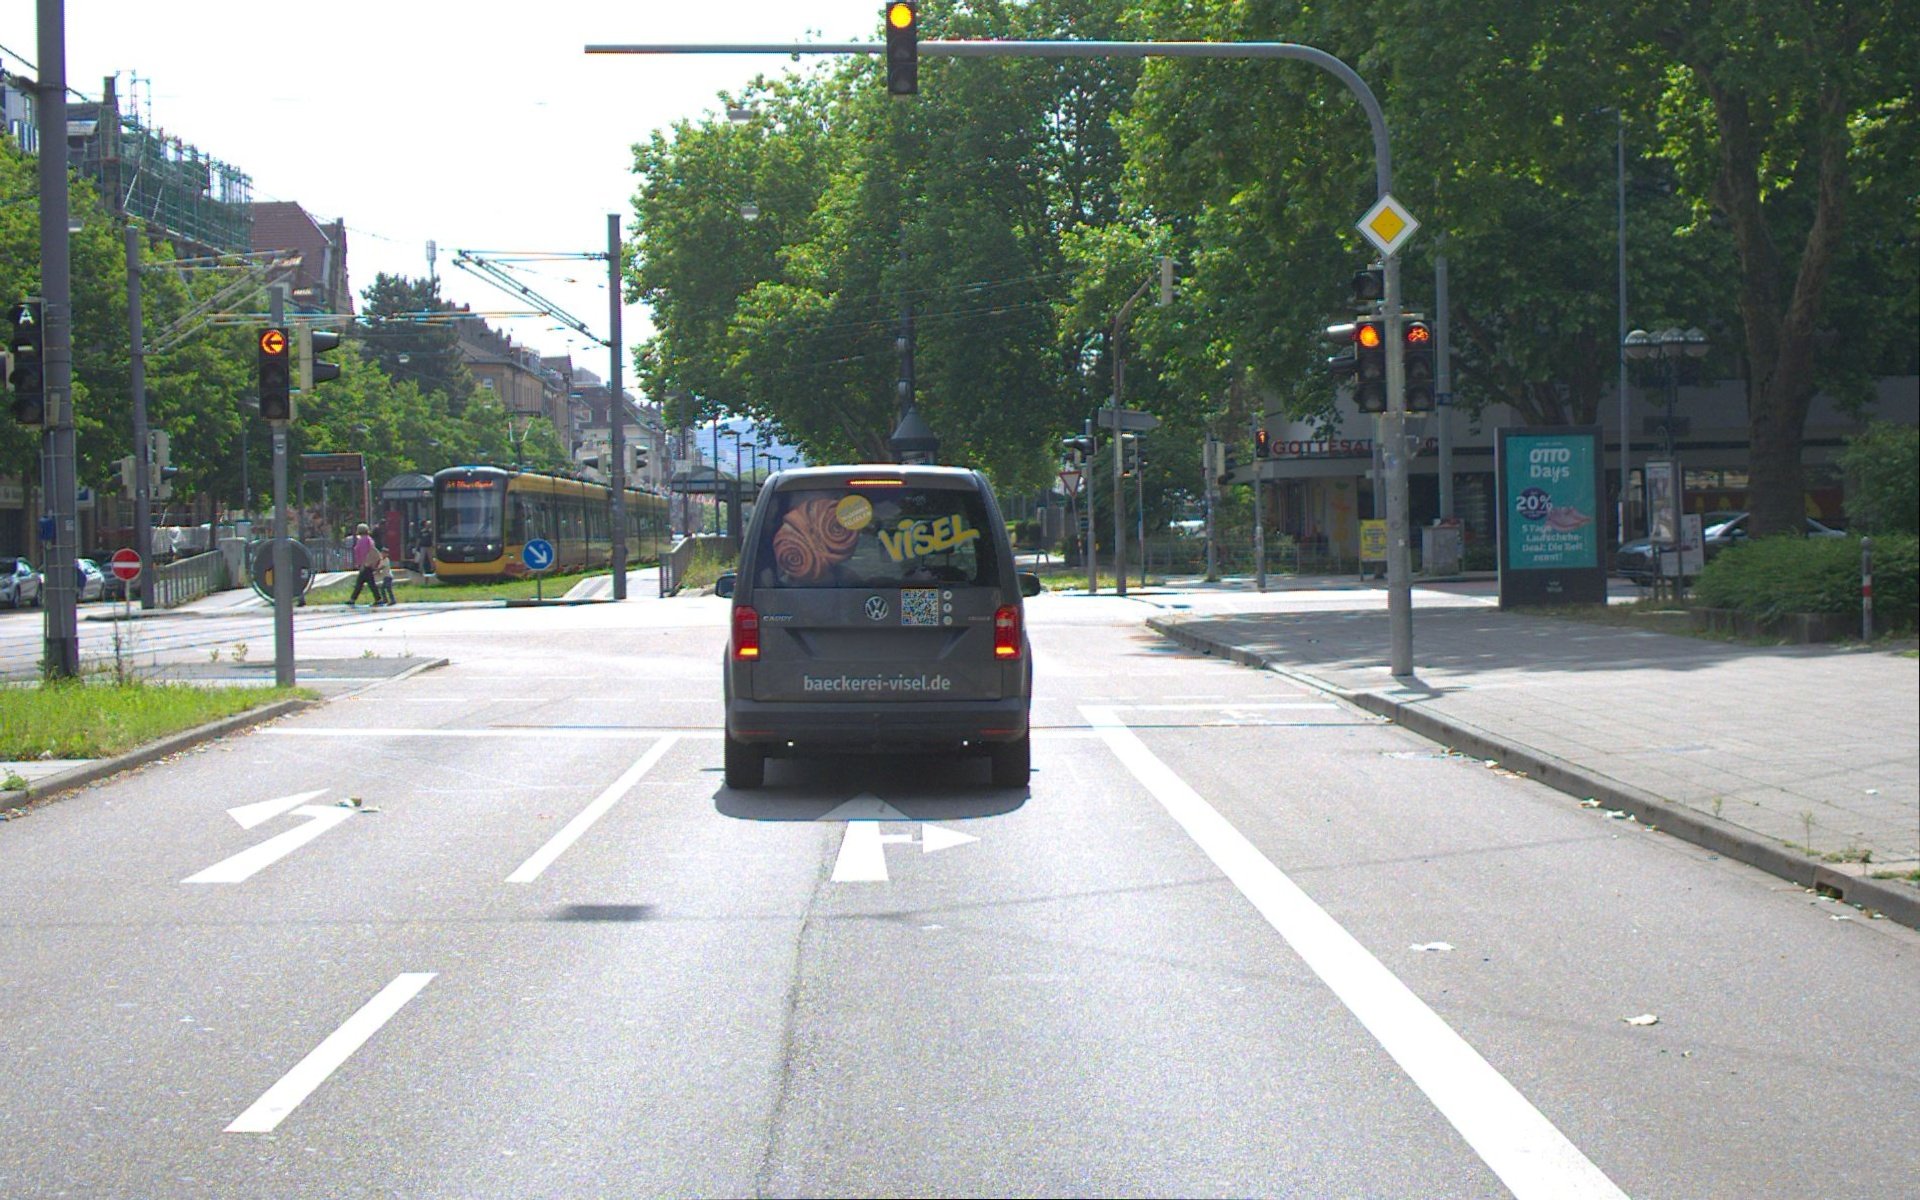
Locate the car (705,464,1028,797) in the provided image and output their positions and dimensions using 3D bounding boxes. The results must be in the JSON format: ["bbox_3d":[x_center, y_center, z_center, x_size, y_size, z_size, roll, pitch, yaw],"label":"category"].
[{"bbox_3d":[-0.524,0.122,20.362,1.750,1.802,3.475,0,1,-1],"label":"car"}]

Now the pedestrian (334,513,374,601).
[{"bbox_3d":[-12.400,-0.879,70.335,0.659,1.778,0.660,-2,1,-1],"label":"pedestrian"}]

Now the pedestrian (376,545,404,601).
[{"bbox_3d":[-11.718,-0.556,70.706,0.463,1.140,0.435,-2,1,-1],"label":"pedestrian"}]

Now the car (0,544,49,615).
[{"bbox_3d":[-28.241,-0.603,100.789,1.993,2.007,4.000,-2,1,-1],"label":"car"}]

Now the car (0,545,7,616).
[{"bbox_3d":[-28.197,-0.494,96.047,1.993,2.007,4.000,-2,1,-1],"label":"car"}]

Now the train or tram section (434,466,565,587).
[{"bbox_3d":[-13.658,-2.222,102.863,2.240,3.320,12.972,-2,1,-1],"label":"train or tram section"}]

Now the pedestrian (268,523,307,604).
[{"bbox_3d":[-14.124,-0.772,72.234,0.659,1.679,0.655,-2,1,-1],"label":"pedestrian"}]

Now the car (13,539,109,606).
[{"bbox_3d":[-28.563,-0.893,109.291,1.993,2.007,4.000,-2,1,-1],"label":"car"}]

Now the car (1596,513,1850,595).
[{"bbox_3d":[14.260,-0.866,64.205,4.480,1.385,1.707,-2,1,-24],"label":"car"}]
